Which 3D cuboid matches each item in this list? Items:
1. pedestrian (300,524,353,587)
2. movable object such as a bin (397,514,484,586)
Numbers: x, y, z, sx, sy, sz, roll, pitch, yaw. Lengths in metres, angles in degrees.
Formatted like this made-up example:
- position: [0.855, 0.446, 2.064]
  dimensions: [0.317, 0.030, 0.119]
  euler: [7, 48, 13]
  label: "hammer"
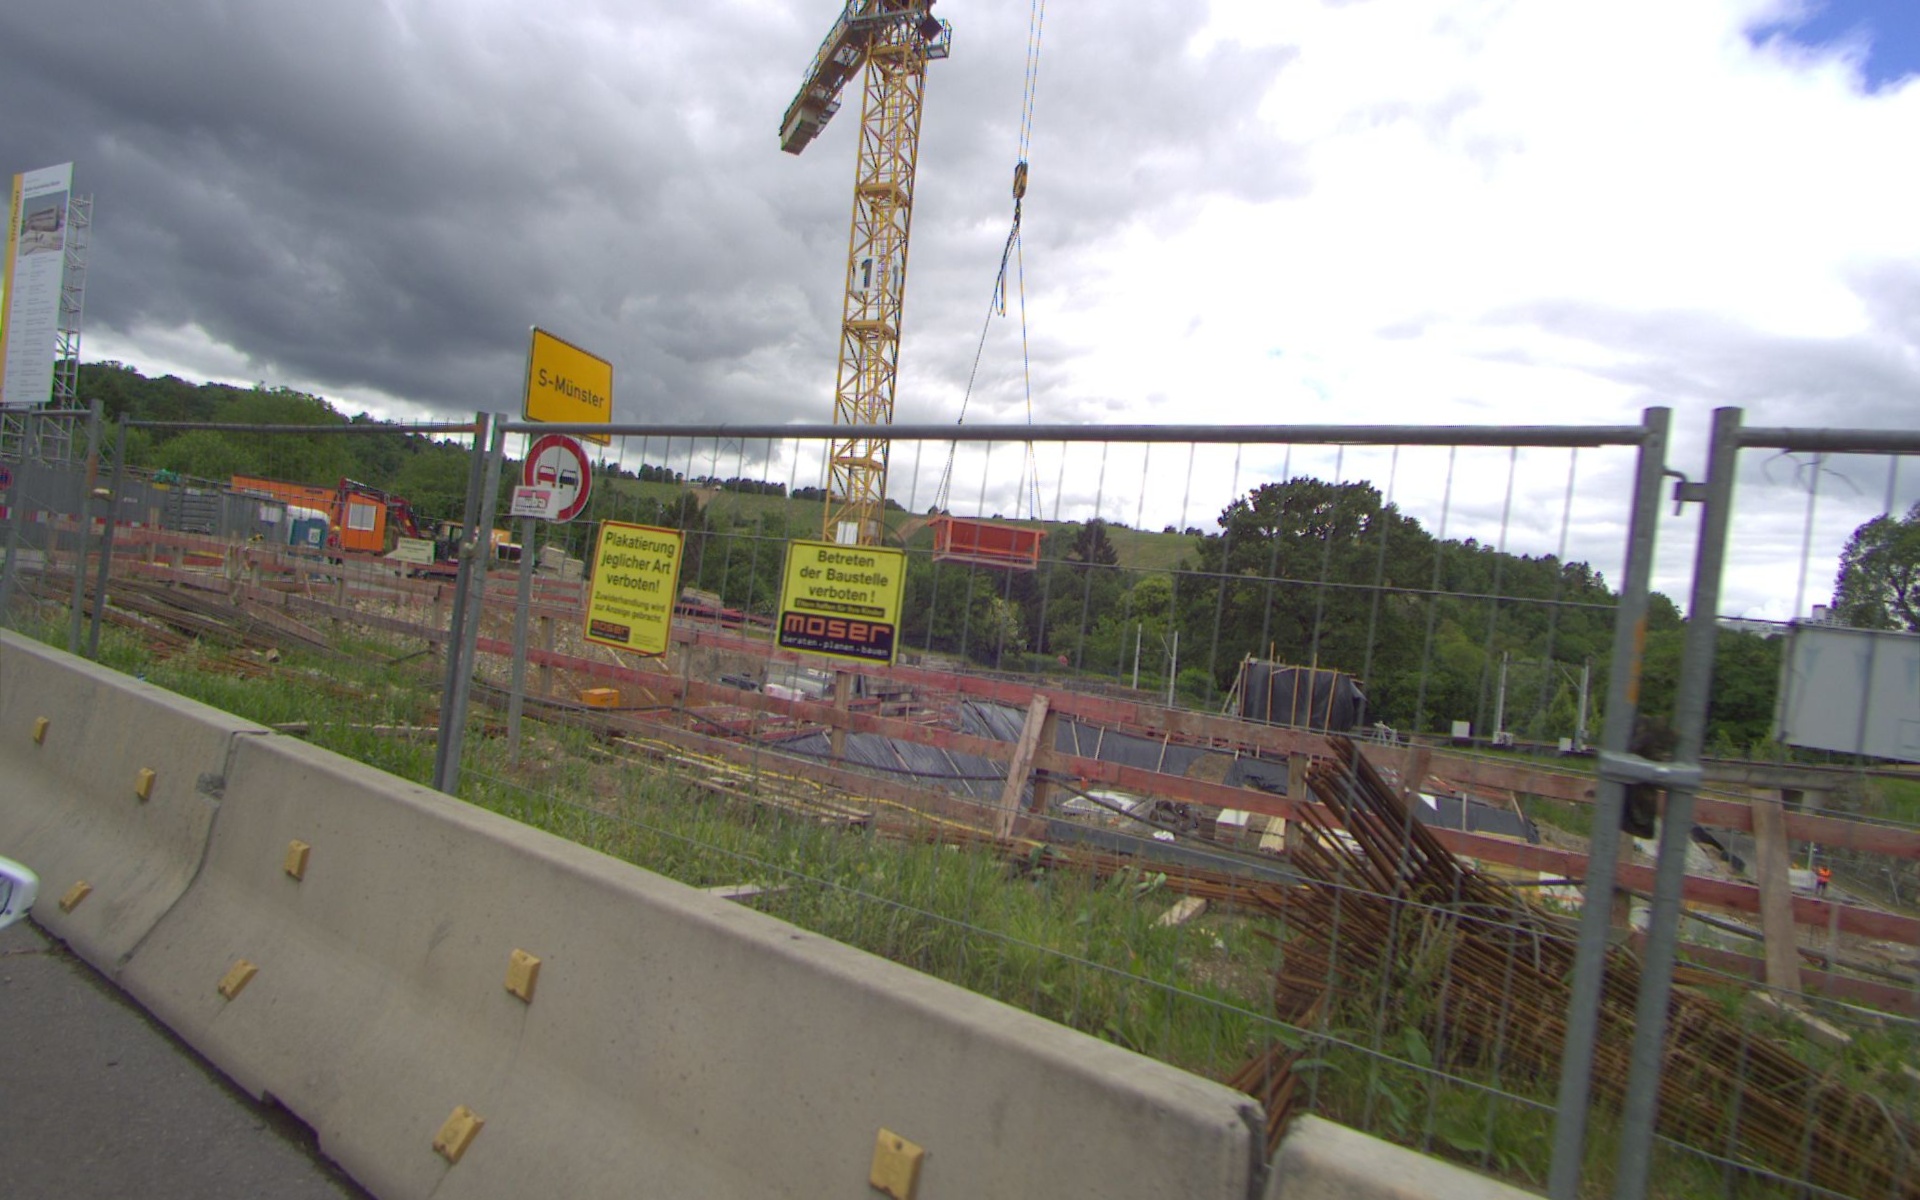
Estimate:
- position: [-21.204, -1.495, 33.682]
  dimensions: [1.135, 1.923, 0.827]
  euler: [7, -1, 23]
  label: "pedestrian"
- position: [-22.381, -2.107, 43.451]
  dimensions: [2.702, 2.615, 1.994]
  euler: [8, -1, -16]
  label: "movable object such as a bin"
